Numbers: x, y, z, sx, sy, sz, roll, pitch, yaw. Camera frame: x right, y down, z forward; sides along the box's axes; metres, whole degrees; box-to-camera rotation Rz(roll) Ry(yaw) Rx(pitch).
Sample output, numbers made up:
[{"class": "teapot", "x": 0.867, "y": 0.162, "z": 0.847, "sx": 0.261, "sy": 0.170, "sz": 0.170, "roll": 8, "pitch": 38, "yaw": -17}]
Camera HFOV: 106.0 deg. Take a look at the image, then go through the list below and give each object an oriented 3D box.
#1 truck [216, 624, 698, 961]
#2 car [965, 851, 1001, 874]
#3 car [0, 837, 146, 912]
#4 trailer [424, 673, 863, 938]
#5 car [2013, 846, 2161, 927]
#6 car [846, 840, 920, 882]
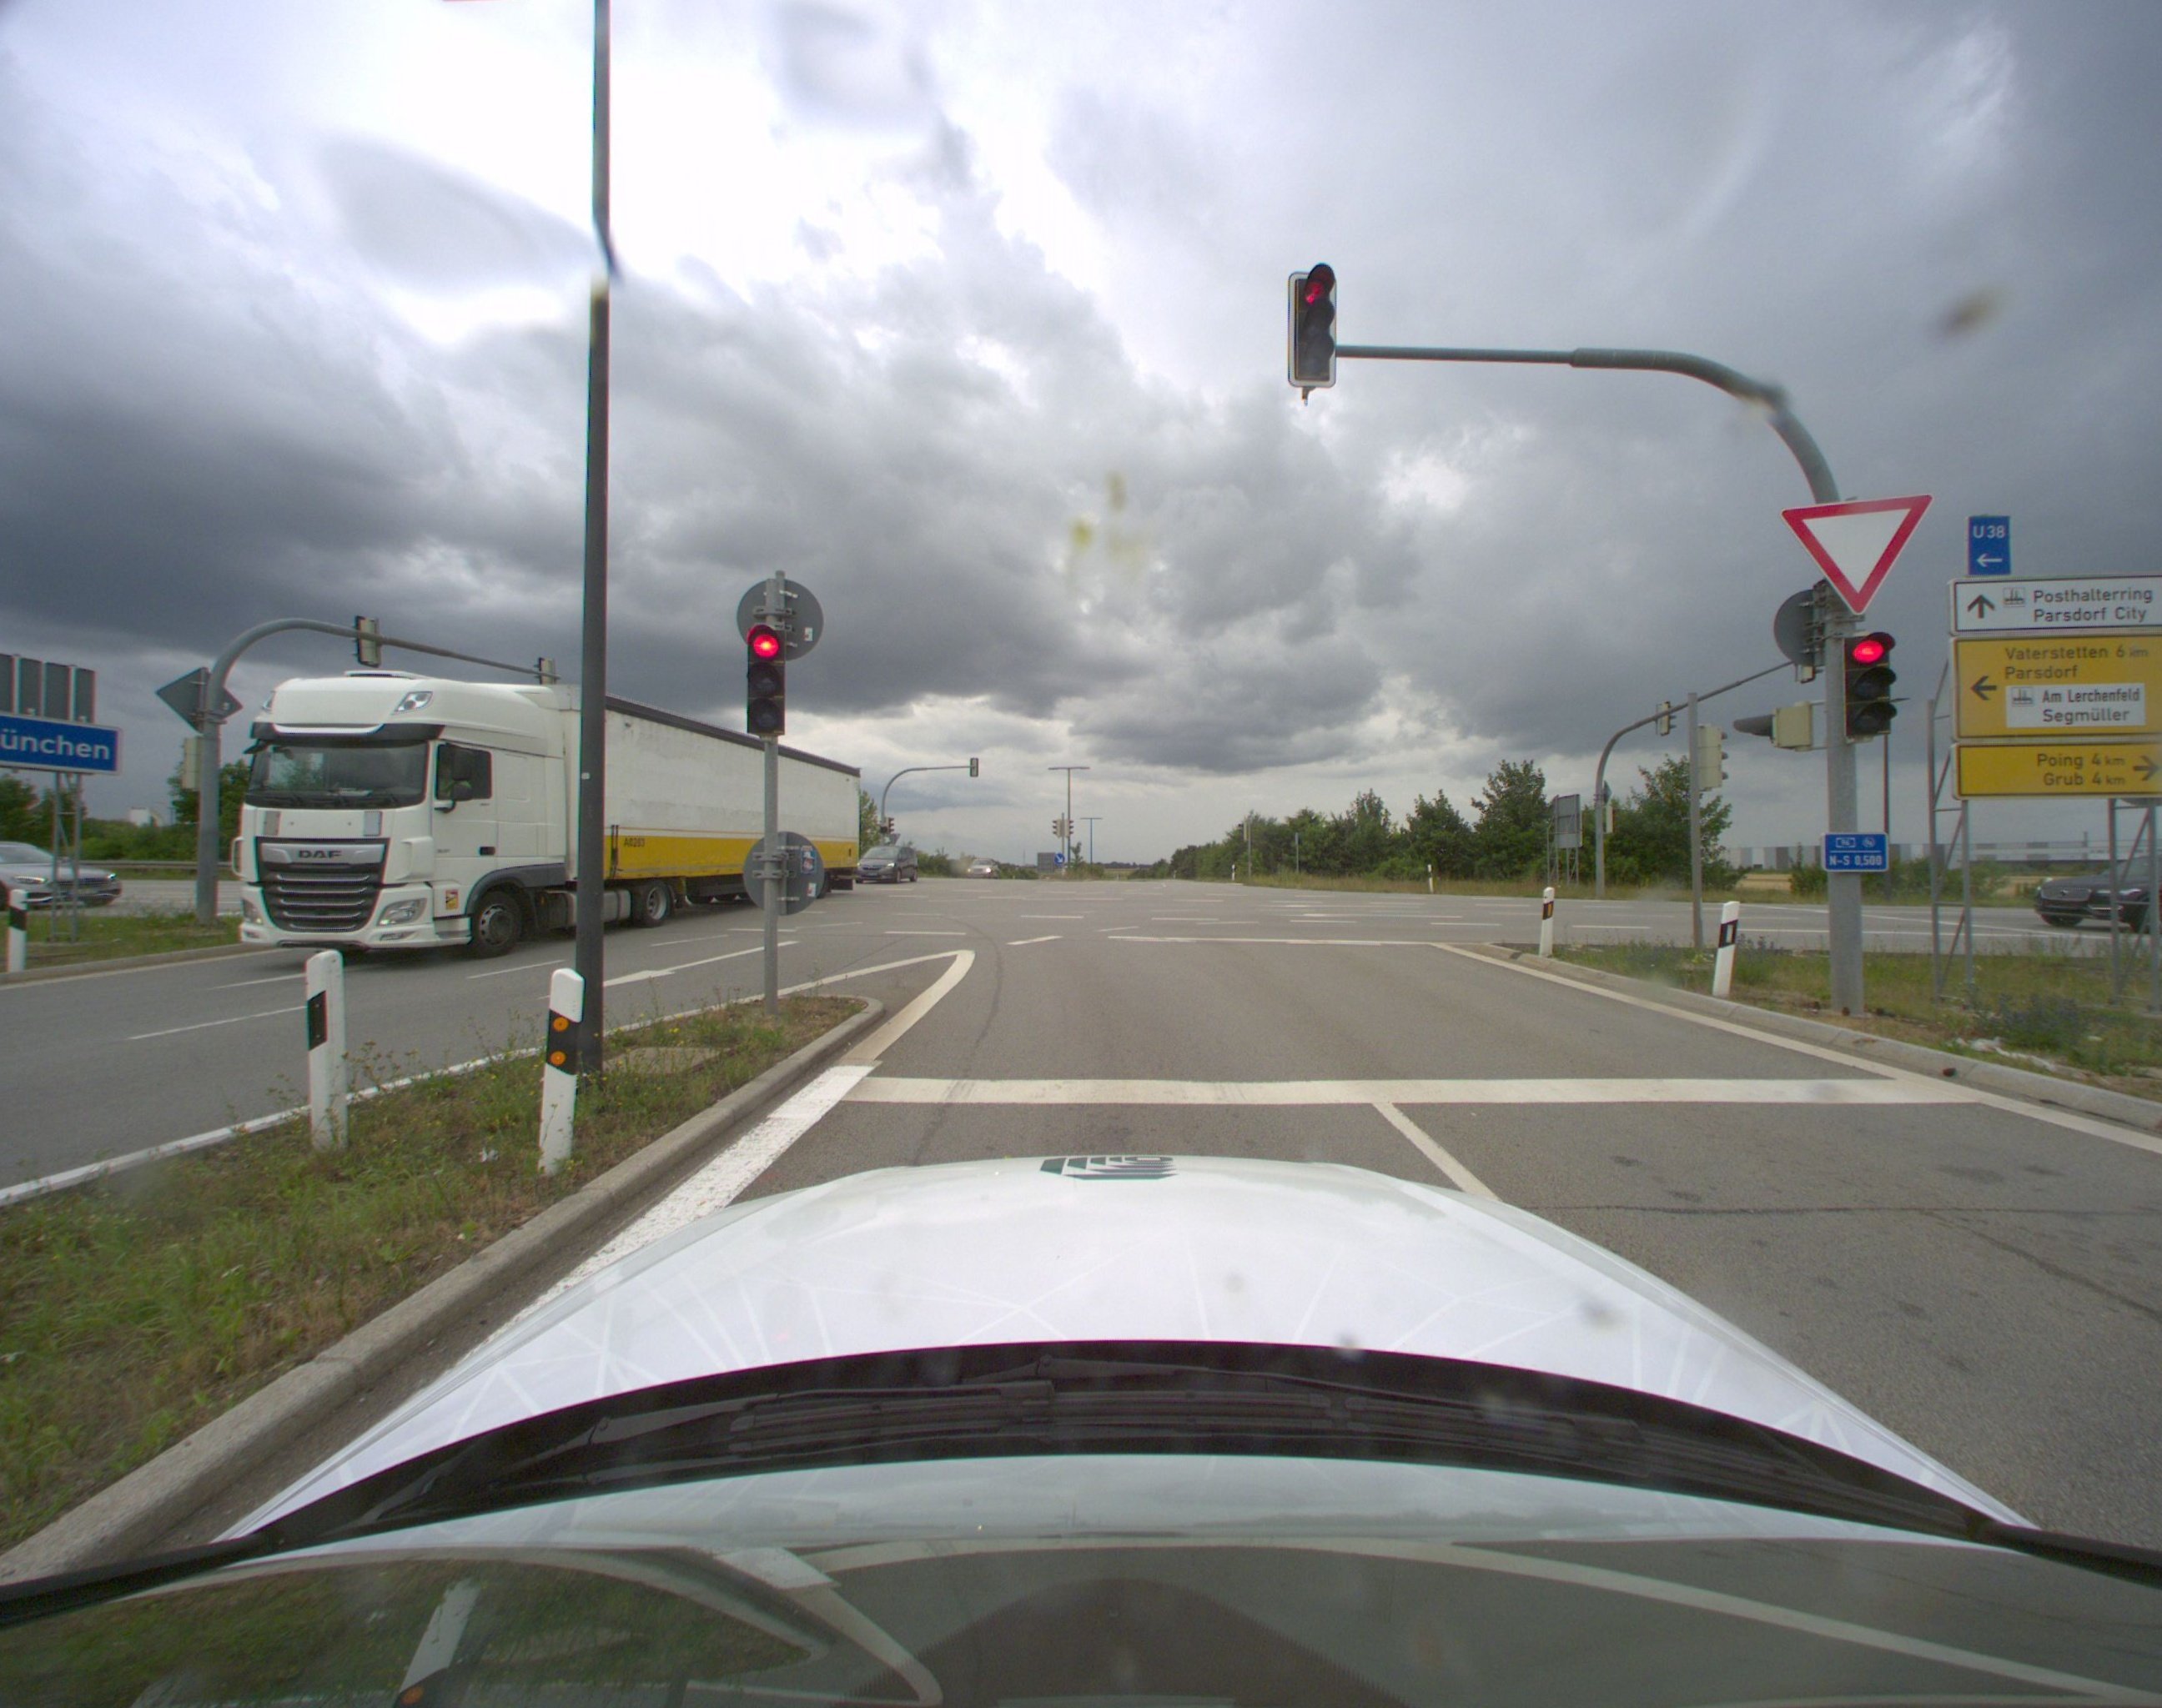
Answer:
[{"class": "truck", "x": -9.232, "y": -0.730, "z": 13.277, "sx": 2.638, "sy": 4.141, "sz": 6.409, "roll": 0, "pitch": -1, "yaw": 3}, {"class": "car", "x": -6.799, "y": 0.557, "z": 56.842, "sx": 1.803, "sy": 1.520, "sz": 4.244, "roll": 0, "pitch": 1, "yaw": 2}, {"class": "car", "x": -24.807, "y": 0.442, "z": 18.622, "sx": 4.909, "sy": 1.610, "sz": 1.924, "roll": 0, "pitch": 0, "yaw": 5}, {"class": "trailer", "x": -8.870, "y": -0.719, "z": 19.970, "sx": 2.681, "sy": 4.210, "sz": 13.851, "roll": 0, "pitch": -1, "yaw": 3}, {"class": "car", "x": 24.097, "y": 0.700, "z": 17.674, "sx": 4.951, "sy": 1.684, "sz": 2.006, "roll": 0, "pitch": 0, "yaw": 10}, {"class": "car", "x": -8.455, "y": 0.292, "z": 35.169, "sx": 1.986, "sy": 1.694, "sz": 4.457, "roll": 0, "pitch": -1, "yaw": 2}]
